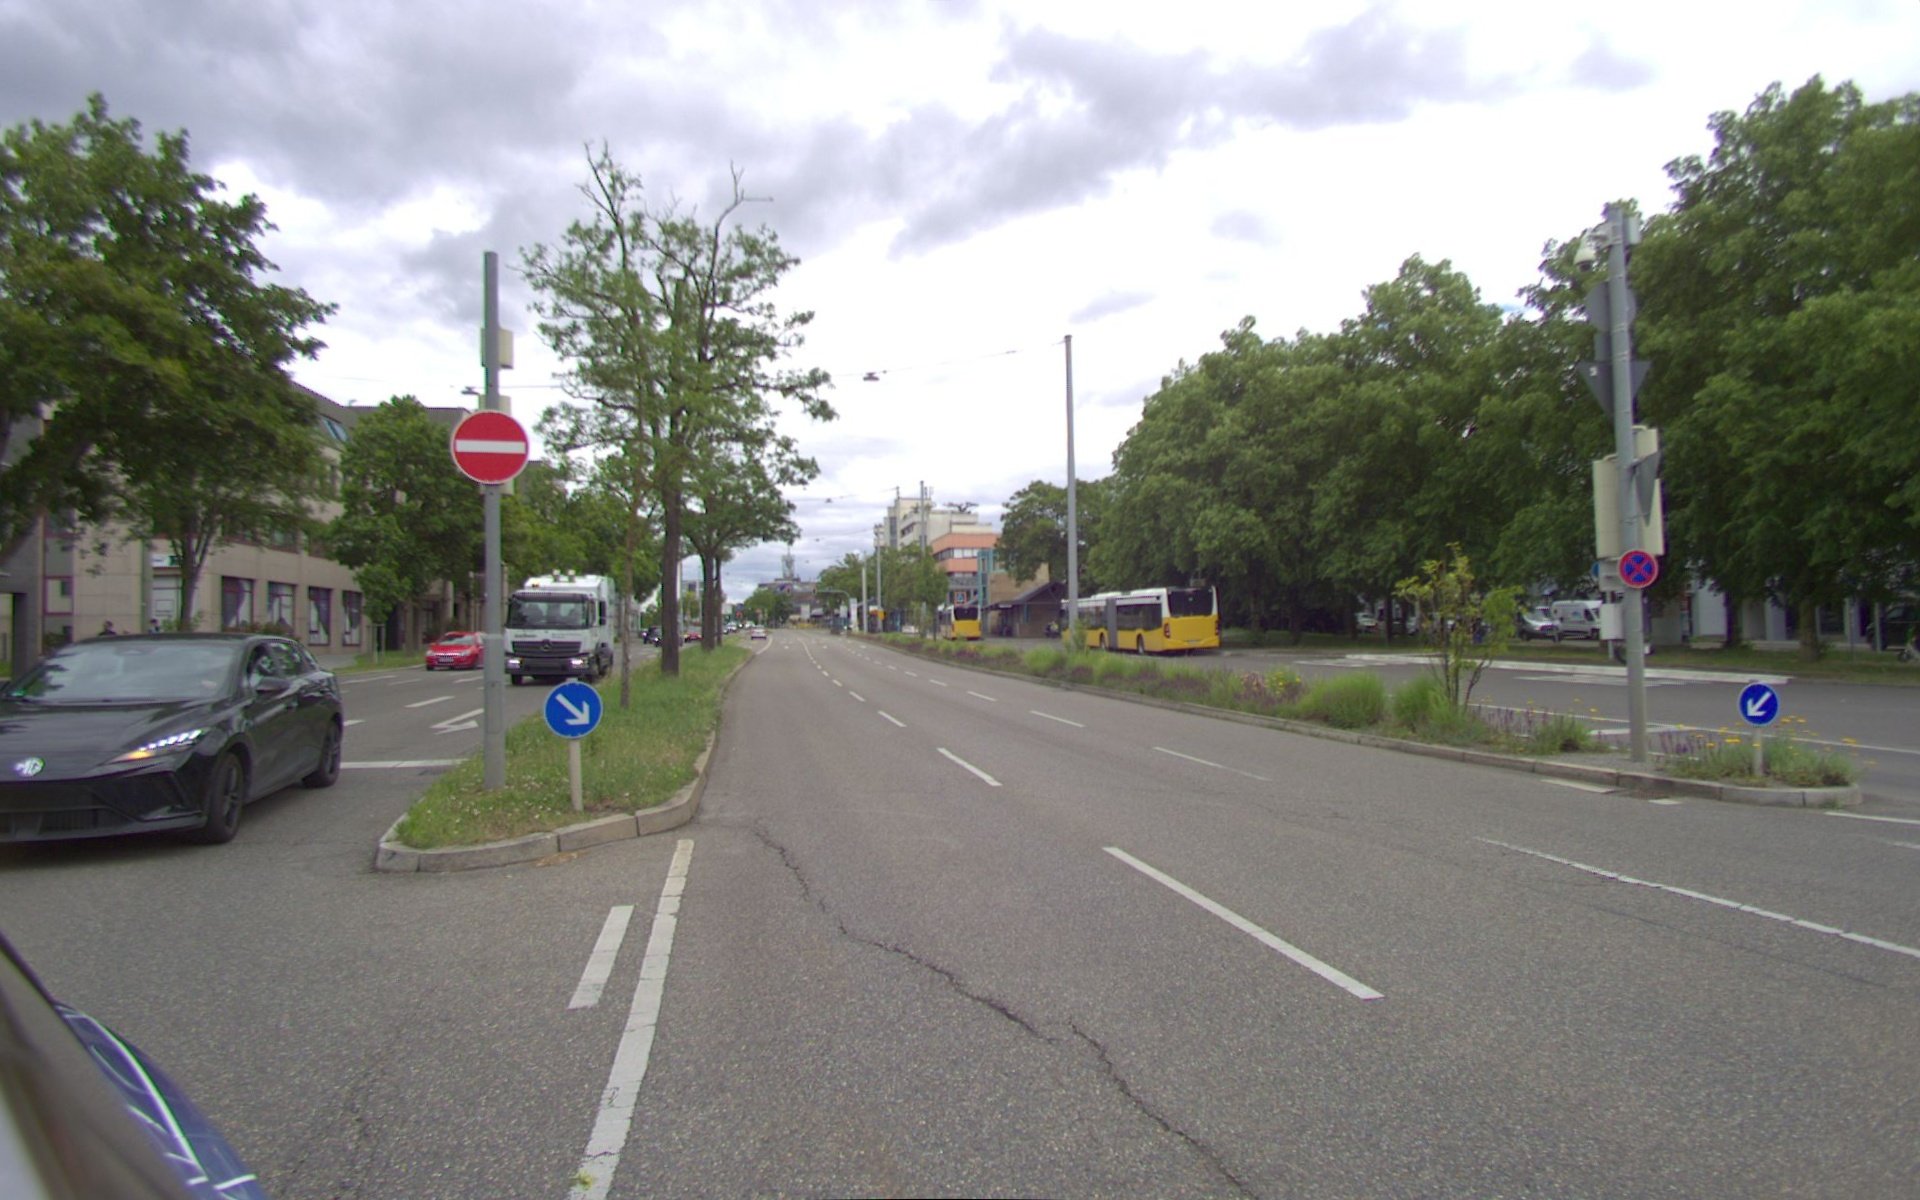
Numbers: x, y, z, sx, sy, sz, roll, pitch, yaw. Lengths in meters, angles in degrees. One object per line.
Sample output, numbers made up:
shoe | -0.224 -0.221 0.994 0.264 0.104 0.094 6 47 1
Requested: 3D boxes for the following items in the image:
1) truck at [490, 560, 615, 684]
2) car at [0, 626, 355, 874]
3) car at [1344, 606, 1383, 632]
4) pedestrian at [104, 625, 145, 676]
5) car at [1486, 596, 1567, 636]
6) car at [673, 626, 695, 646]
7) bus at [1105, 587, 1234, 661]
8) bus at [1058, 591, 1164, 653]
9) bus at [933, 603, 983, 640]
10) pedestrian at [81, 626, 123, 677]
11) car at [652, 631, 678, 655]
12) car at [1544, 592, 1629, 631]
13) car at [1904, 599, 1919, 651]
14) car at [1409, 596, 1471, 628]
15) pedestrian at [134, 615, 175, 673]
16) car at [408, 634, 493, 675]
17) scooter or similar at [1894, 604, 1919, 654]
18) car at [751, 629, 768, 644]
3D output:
truck | -11.770 0.689 29.745 2.397 3.219 6.483 1 -2 -13
car | -6.482 0.990 8.205 1.770 1.495 4.032 2 -2 -17
car | 33.852 1.574 85.031 1.978 1.953 4.579 -2 0 9
pedestrian | -24.190 1.452 29.315 0.682 1.444 0.599 -2 0 -12
car | 33.625 0.901 60.274 2.194 2.133 5.296 -2 0 6
car | -27.657 3.618 101.560 1.862 1.757 3.680 -2 0 -12
bus | 9.552 1.064 47.354 3.005 3.031 8.446 -2 0 -9
bus | 8.174 1.128 56.329 3.005 3.031 9.715 -2 0 -9
bus | -0.288 1.827 90.164 3.245 3.031 10.245 -2 0 -6
pedestrian | -24.948 1.490 29.430 0.682 1.401 0.599 -2 0 -12
car | -24.334 3.513 83.513 1.966 1.707 4.617 -2 0 -16
car | 39.621 0.659 64.194 2.290 2.271 5.482 -2 0 6
car | 31.805 0.761 31.385 1.628 1.682 3.941 0 -1 7
car | 34.488 0.849 72.909 2.290 2.107 5.482 -2 0 6
pedestrian | -23.450 1.280 29.473 0.682 1.632 0.599 -2 0 -12
car | -19.438 2.032 38.822 1.966 1.434 4.367 0 -2 -14
scooter or similar | 29.039 0.860 30.226 0.547 1.457 1.594 -2 0 -43
car | -23.079 4.204 116.599 1.722 1.540 3.756 -2 0 -8
